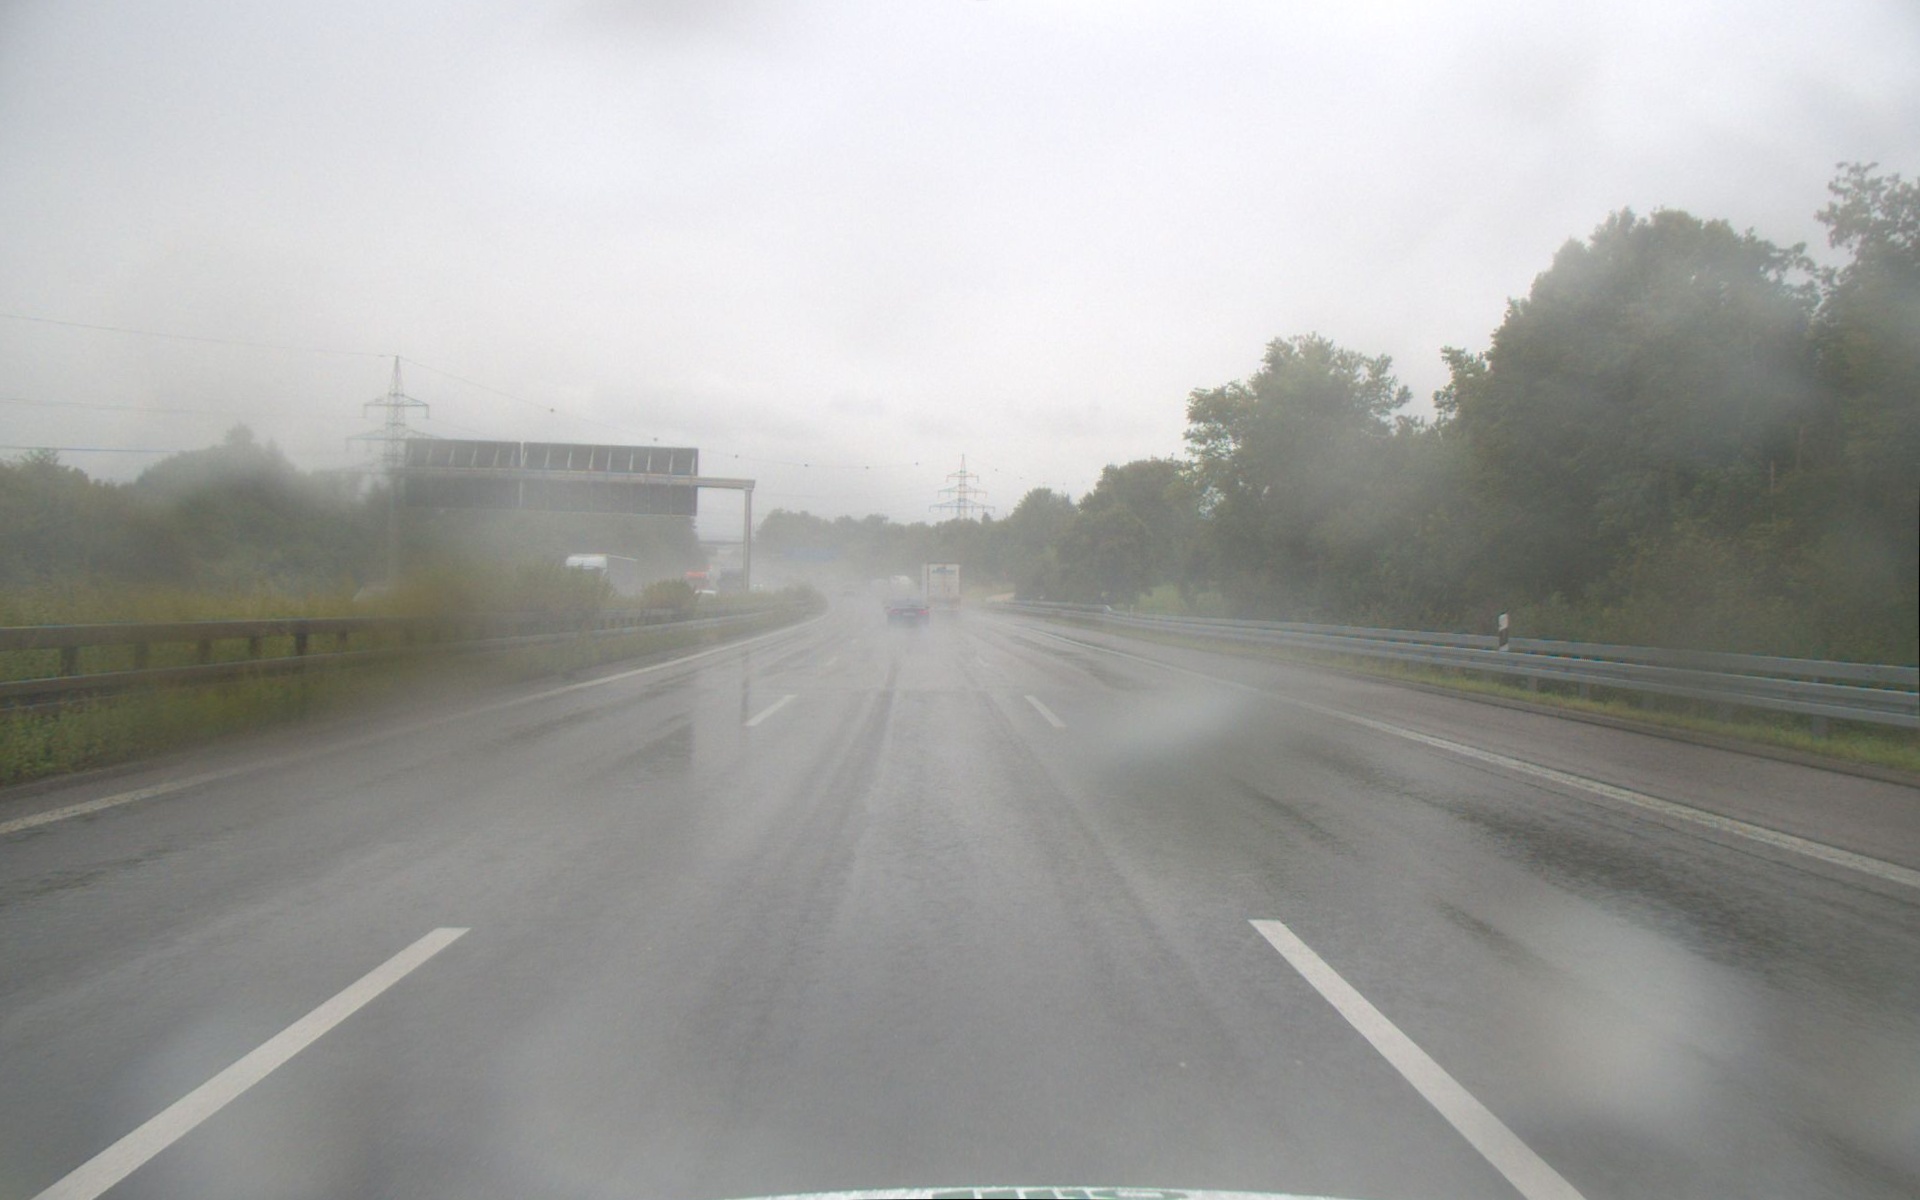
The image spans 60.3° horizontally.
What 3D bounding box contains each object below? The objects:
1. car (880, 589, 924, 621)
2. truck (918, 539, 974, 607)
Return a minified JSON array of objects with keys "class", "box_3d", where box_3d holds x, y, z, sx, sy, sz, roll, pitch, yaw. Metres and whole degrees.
[{"class":"car","box_3d":[-2.452,0.181,70.439,1.713,1.233,4.000,3,0,0]},{"class":"truck","box_3d":[-1.197,-2.151,133.441,4.170,5.059,17.337,-1,1,-1]}]
